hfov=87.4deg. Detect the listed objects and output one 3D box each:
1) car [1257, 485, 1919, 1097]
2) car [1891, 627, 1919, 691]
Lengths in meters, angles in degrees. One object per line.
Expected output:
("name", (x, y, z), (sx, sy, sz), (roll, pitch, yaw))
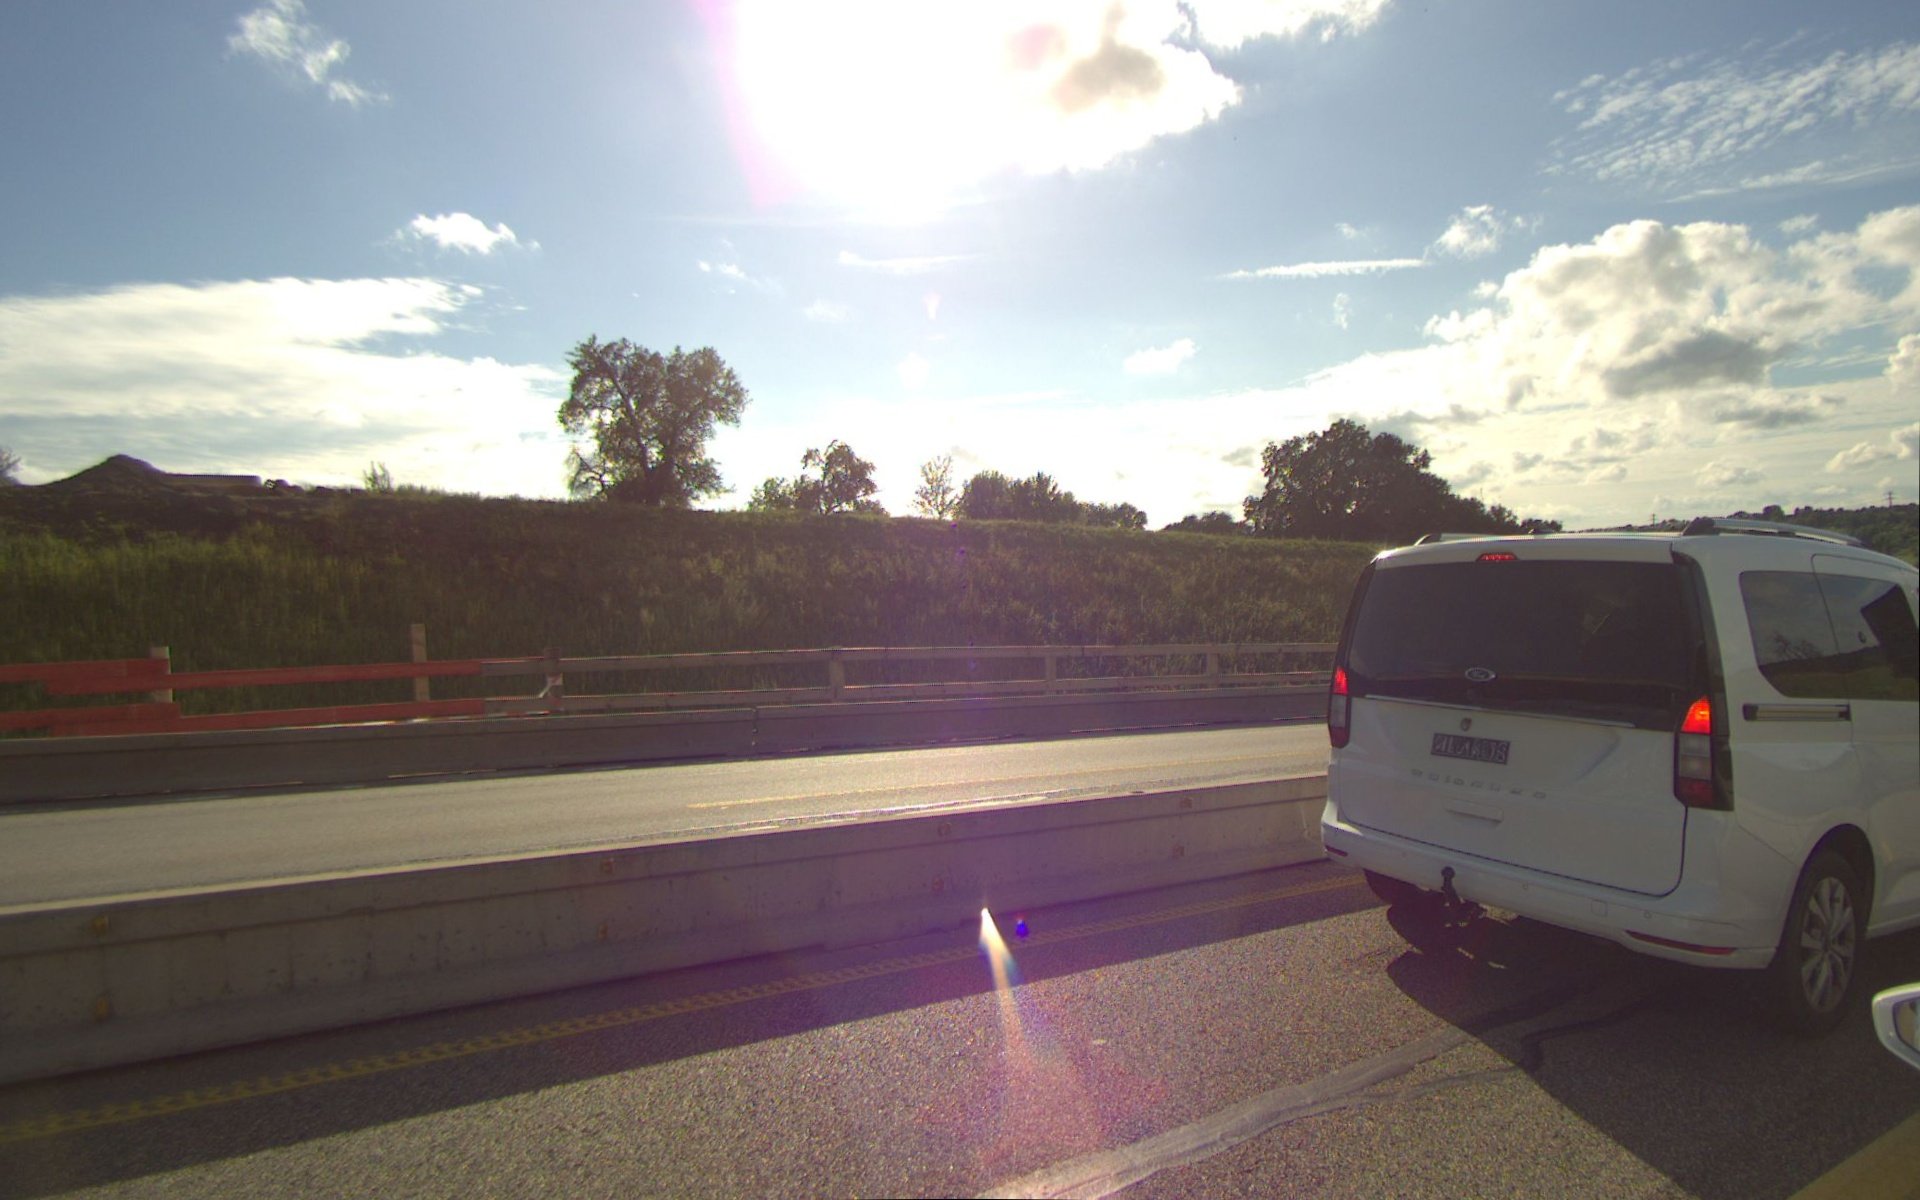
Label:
("car", (3.720, 0.586, 4.938), (4.404, 1.848, 1.814), (1, 1, -31))
("car", (23.778, 1.357, 23.504), (4.575, 1.443, 1.725), (2, -4, -31))
